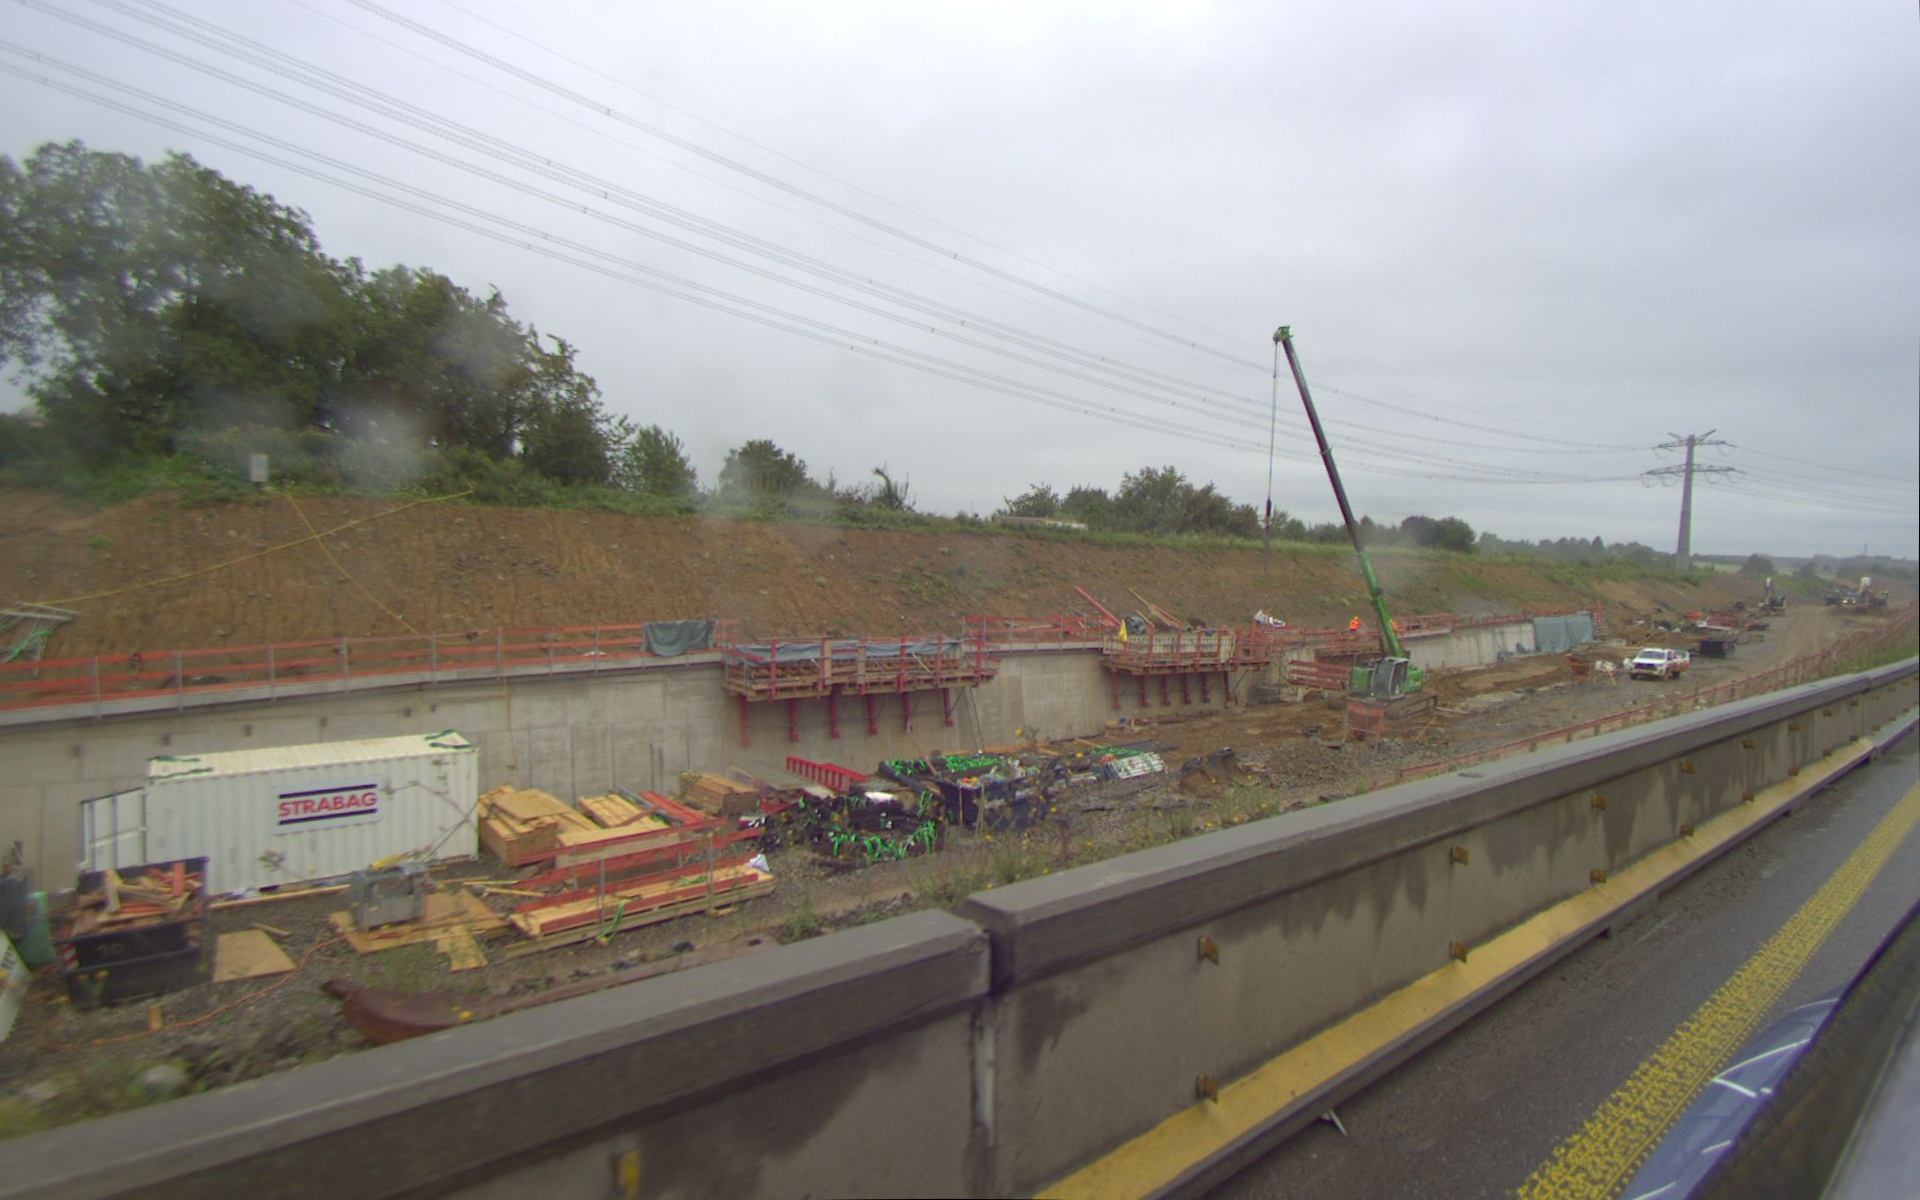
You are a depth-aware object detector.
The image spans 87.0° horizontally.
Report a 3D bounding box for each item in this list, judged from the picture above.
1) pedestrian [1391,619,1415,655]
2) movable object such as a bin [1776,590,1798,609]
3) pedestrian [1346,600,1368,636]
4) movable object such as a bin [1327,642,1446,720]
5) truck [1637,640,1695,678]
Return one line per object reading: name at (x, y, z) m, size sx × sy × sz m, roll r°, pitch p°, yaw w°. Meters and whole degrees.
pedestrian at (29.209, 2.439, 66.759) m, size 0.988 × 2.260 × 0.916 m, roll -2°, pitch -4°, yaw -39°
movable object such as a bin at (126.127, -0.100, 154.333) m, size 2.246 × 2.753 × 3.937 m, roll -1°, pitch 0°, yaw 44°
pedestrian at (26.100, 1.208, 66.516) m, size 0.914 × 2.275 × 0.990 m, roll -7°, pitch -4°, yaw 43°
movable object such as a bin at (21.004, 3.863, 49.757) m, size 4.779 × 2.836 × 3.796 m, roll -7°, pitch 6°, yaw -43°
truck at (43.439, 3.559, 62.185) m, size 5.689 × 1.894 × 1.764 m, roll -1°, pitch 2°, yaw -43°
